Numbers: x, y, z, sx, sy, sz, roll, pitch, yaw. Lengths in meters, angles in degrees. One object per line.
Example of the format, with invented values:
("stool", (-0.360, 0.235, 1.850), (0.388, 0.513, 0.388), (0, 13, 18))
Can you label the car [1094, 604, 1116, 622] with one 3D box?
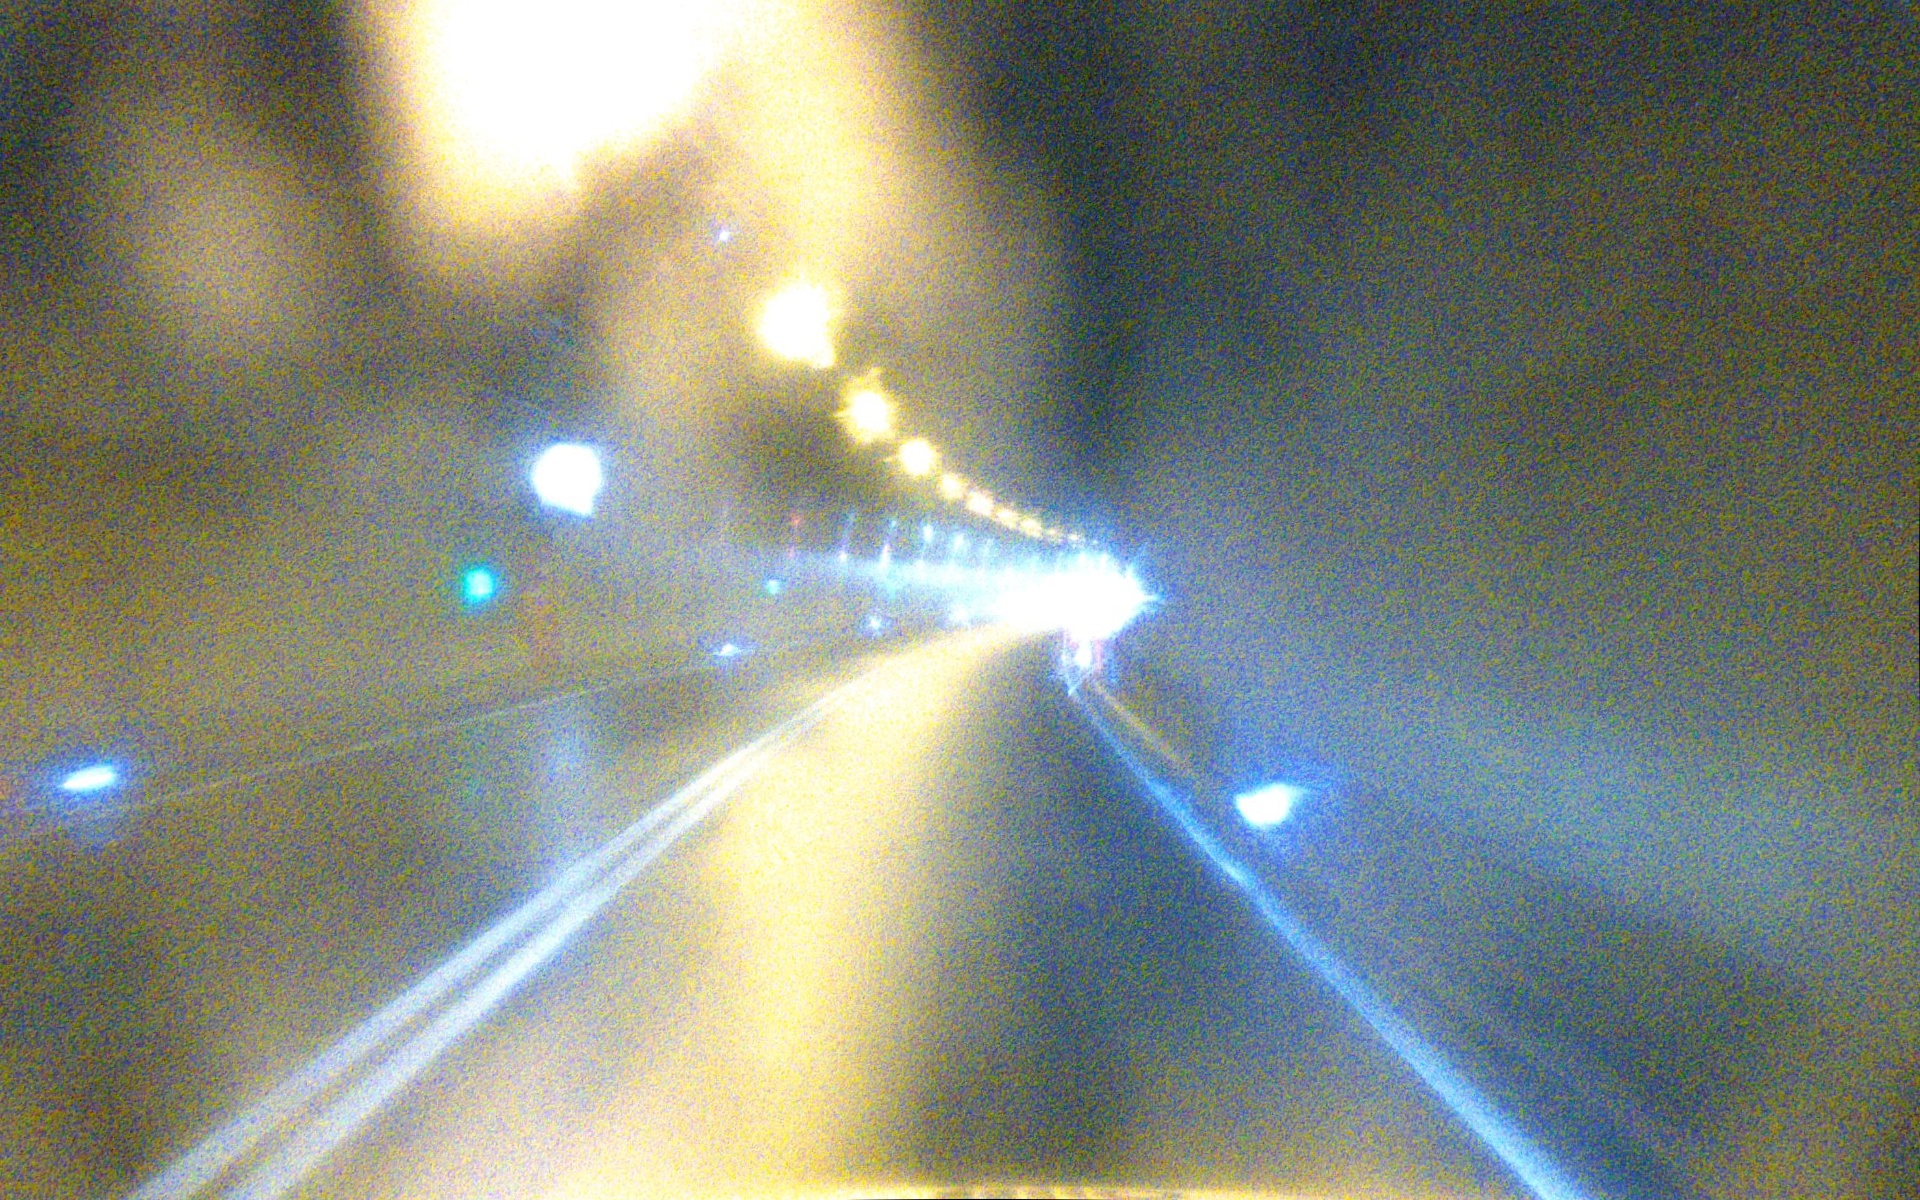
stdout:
("car", (12.498, 1.099, 142.403), (1.592, 1.472, 3.937), (1, 0, 1))

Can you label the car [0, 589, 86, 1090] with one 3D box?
("car", (-3.506, 0.660, 2.729), (1.678, 1.402, 4.585), (2, 0, 0))

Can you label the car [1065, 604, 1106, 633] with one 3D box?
("car", (7.547, 1.073, 99.329), (1.951, 1.679, 4.003), (1, 0, 11))
